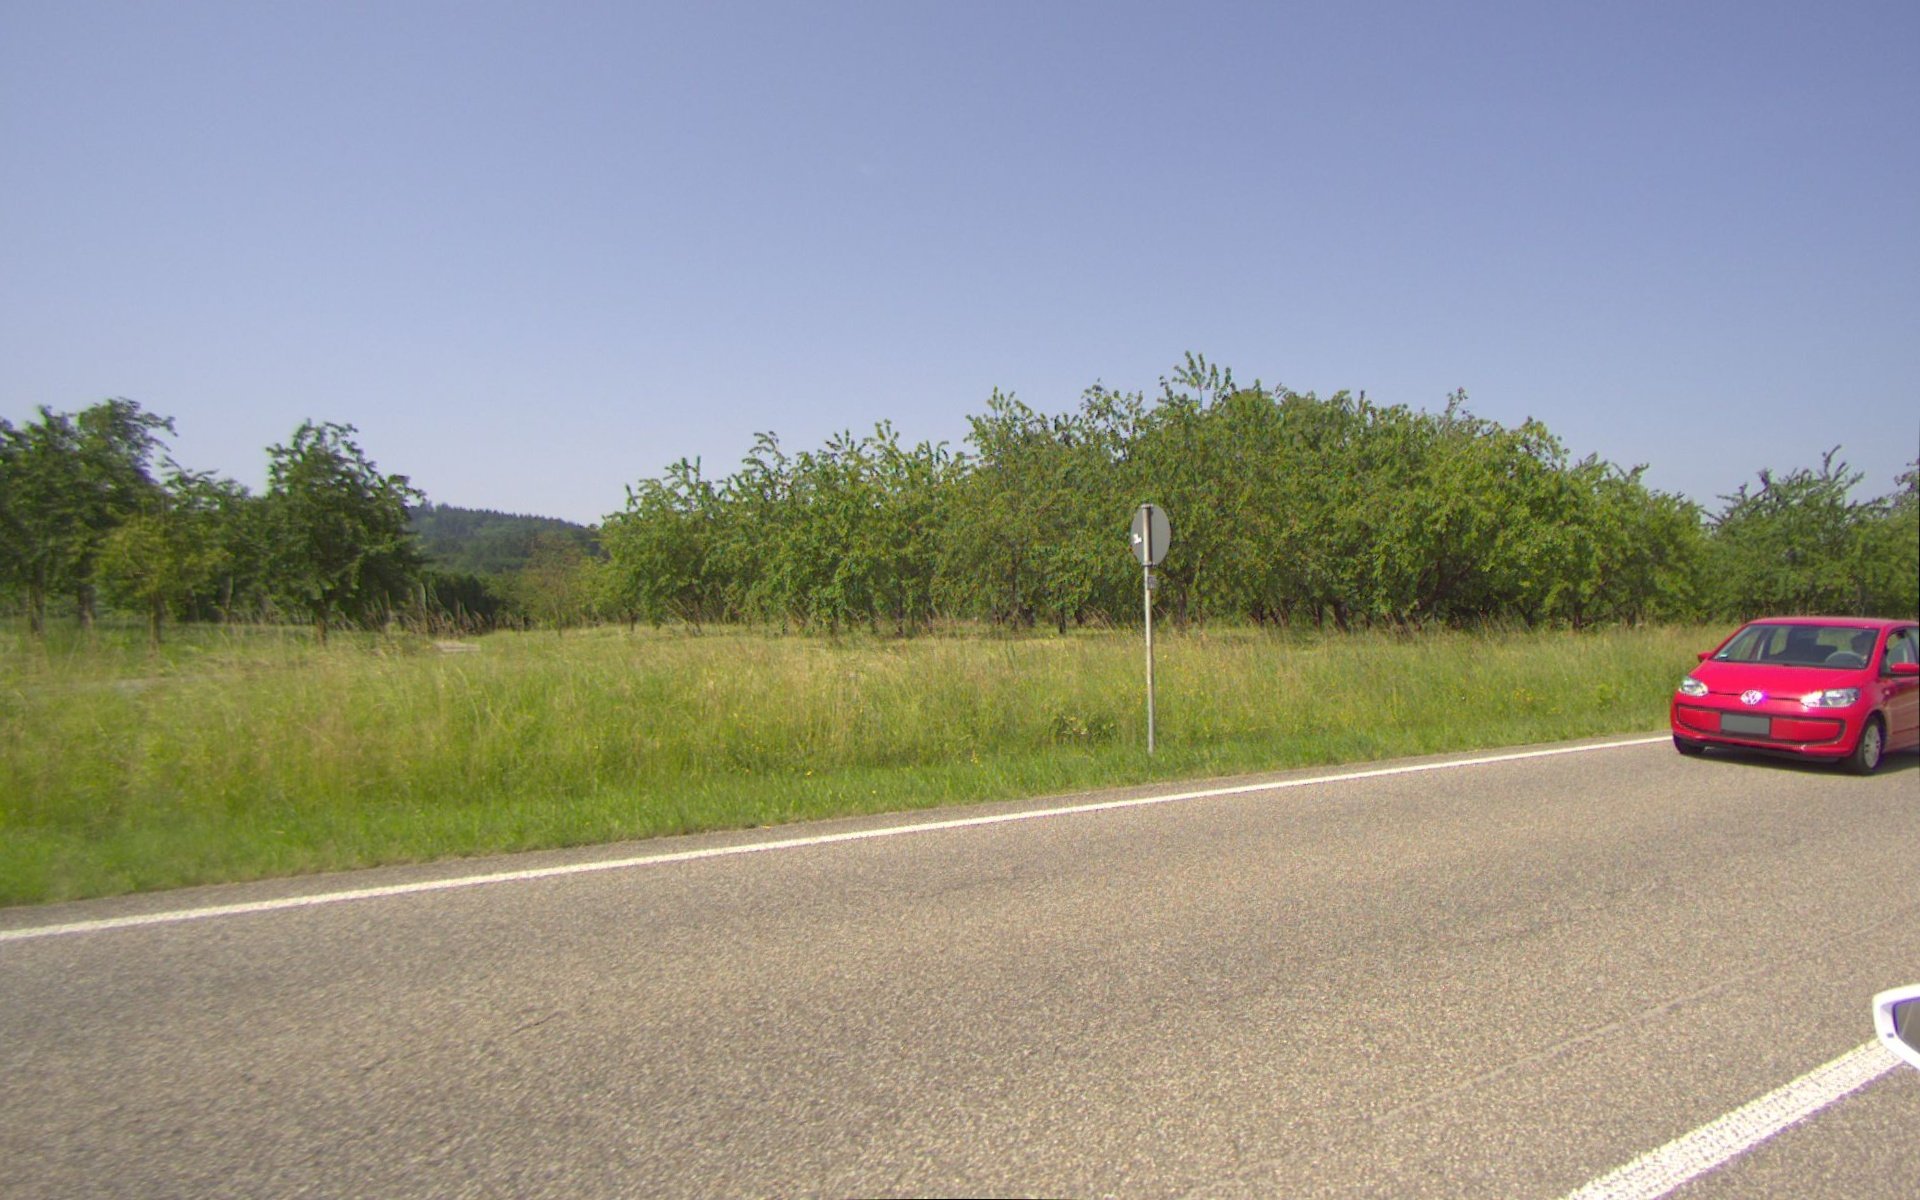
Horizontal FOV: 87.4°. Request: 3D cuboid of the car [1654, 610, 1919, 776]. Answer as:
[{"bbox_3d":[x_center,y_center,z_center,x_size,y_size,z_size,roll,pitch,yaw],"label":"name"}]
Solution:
[{"bbox_3d":[9.198,0.880,10.754,3.581,1.476,1.616,1,0,-32],"label":"car"}]
